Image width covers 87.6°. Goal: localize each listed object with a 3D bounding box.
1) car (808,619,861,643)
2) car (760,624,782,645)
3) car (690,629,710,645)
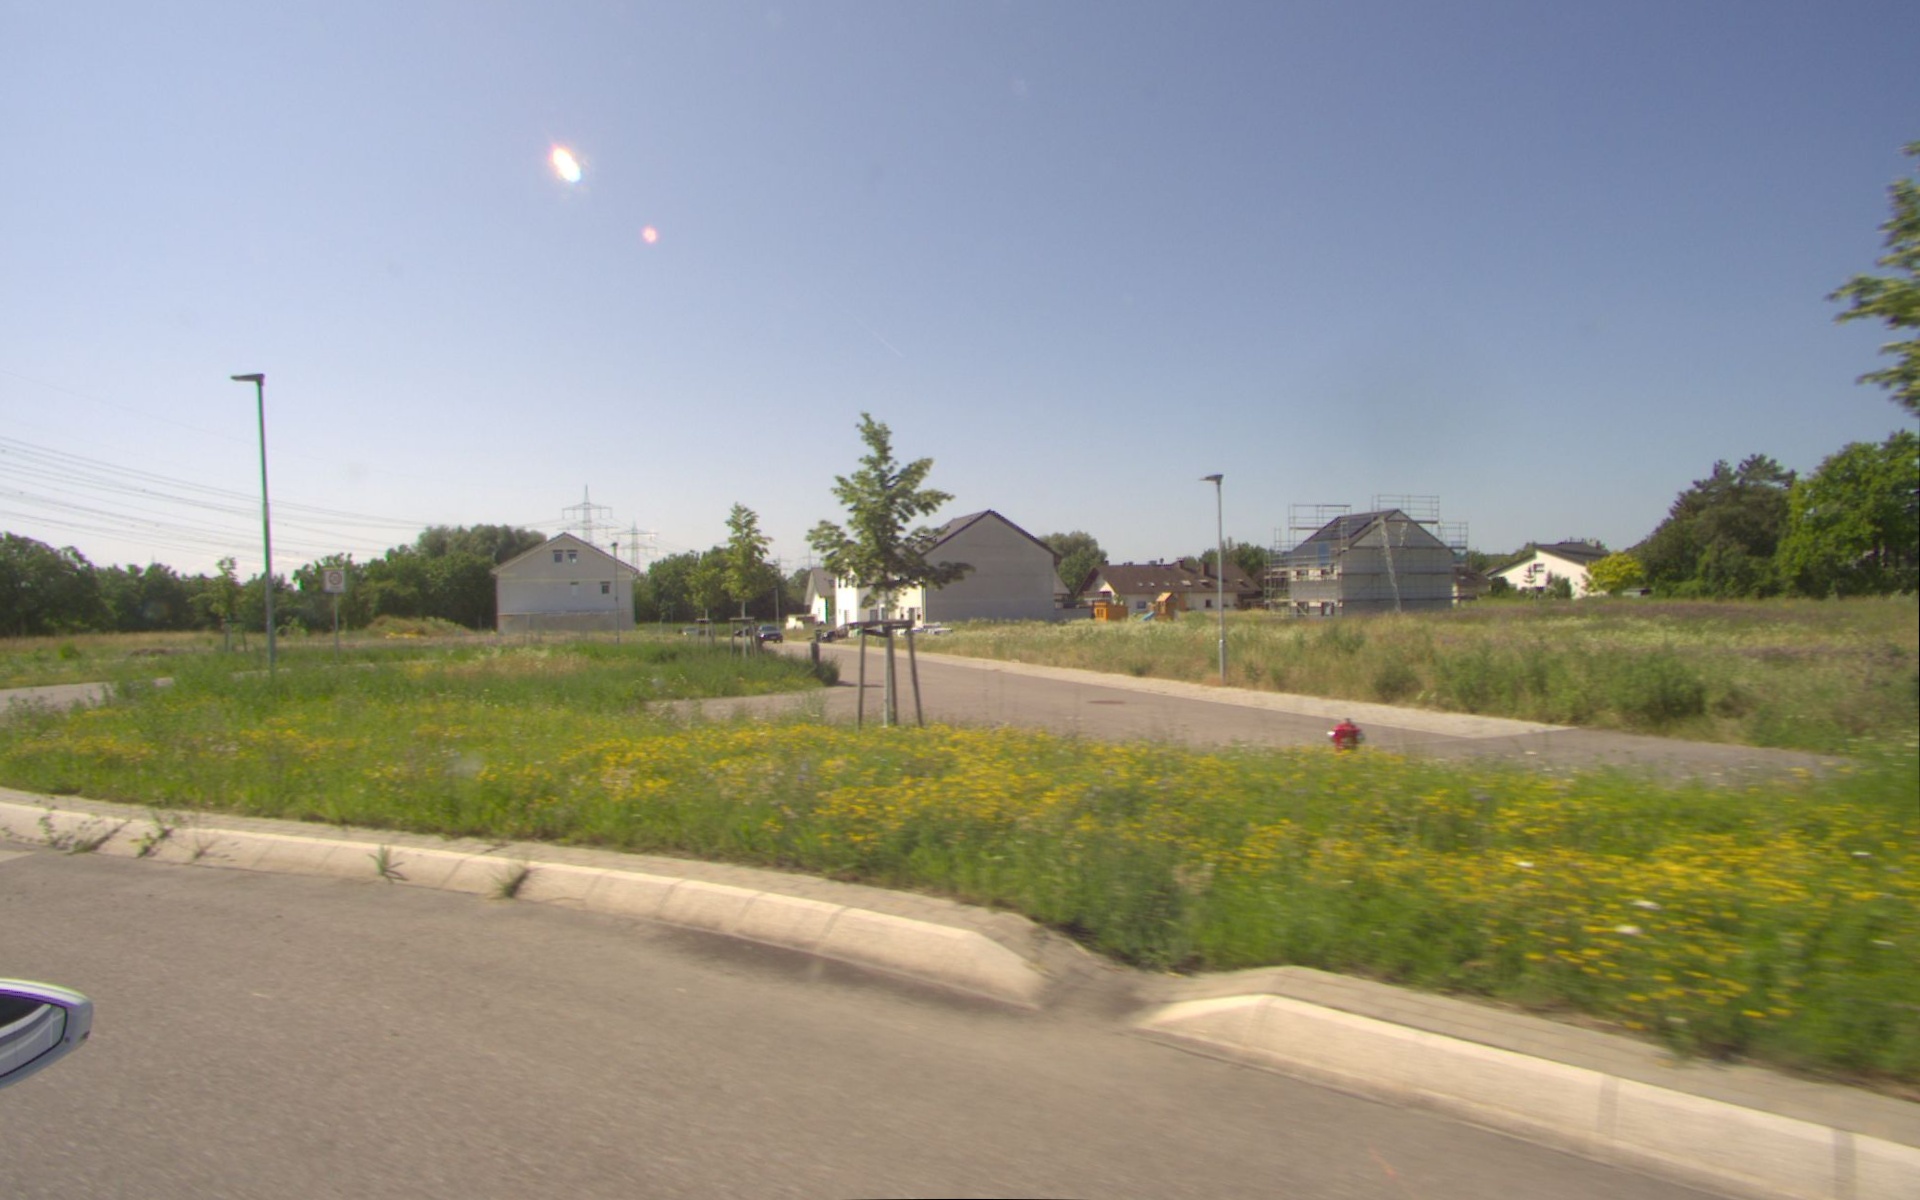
[{"bbox_3d":[-10.176,2.459,80.828,3.929,1.817,1.997,-1,-1,-17],"label":"car"},{"bbox_3d":[-15.858,2.888,84.161,1.649,1.683,3.487,-1,-2,-9],"label":"car"},{"bbox_3d":[-27.744,3.955,106.922,1.649,1.683,3.487,-1,-2,-9],"label":"car"}]
